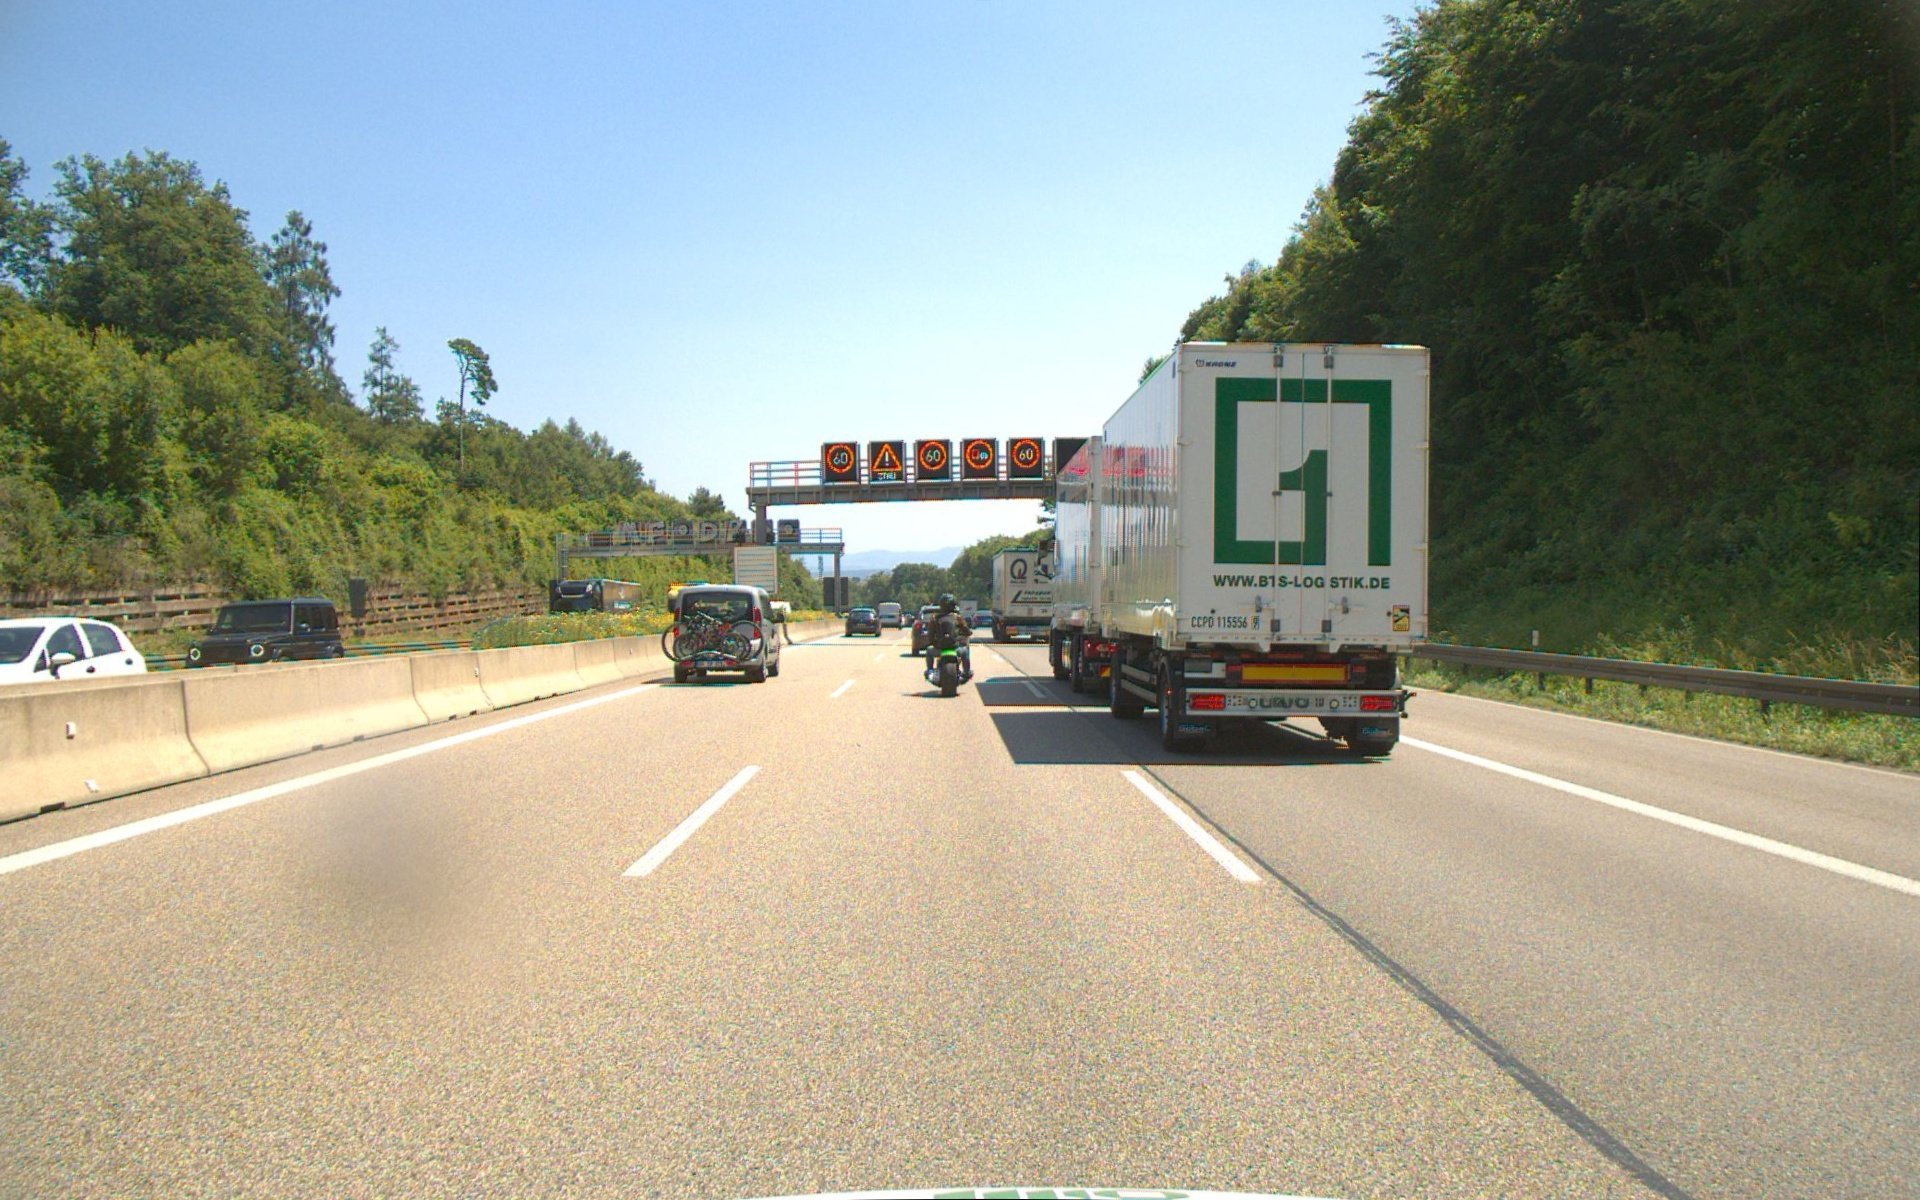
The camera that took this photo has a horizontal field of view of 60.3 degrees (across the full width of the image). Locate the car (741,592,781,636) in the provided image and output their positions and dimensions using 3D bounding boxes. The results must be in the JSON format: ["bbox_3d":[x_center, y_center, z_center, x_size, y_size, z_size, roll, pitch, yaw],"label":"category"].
[{"bbox_3d":[-12.603,0.860,104.964,1.958,2.720,4.845,-2,0,-1],"label":"car"}]

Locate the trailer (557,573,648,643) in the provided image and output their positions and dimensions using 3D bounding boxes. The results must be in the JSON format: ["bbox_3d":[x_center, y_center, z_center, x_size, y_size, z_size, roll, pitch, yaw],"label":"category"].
[{"bbox_3d":[-23.225,0.510,108.247,2.918,4.172,13.991,-3,0,-1],"label":"trailer"}]

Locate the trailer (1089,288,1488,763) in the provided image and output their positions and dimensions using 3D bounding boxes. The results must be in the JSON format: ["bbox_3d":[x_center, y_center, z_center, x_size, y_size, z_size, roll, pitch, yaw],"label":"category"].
[{"bbox_3d":[3.346,-0.648,19.868,2.625,4.249,10.062,0,0,-1],"label":"trailer"}]

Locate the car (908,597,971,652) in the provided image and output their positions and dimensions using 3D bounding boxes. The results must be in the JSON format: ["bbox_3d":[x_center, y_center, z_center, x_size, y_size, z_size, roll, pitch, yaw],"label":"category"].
[{"bbox_3d":[-0.632,0.695,50.249,1.808,1.584,4.438,0,0,-1],"label":"car"}]

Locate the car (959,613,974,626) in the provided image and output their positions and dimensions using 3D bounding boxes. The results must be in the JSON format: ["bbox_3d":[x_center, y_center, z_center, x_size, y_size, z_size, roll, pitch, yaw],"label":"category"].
[{"bbox_3d":[0.848,2.425,208.014,1.794,1.553,4.026,0,0,-1],"label":"car"}]

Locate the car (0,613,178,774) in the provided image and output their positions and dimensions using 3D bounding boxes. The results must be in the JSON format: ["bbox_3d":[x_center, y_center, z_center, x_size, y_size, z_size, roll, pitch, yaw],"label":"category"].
[{"bbox_3d":[-10.858,1.017,19.150,1.711,1.633,4.057,-2,0,-1],"label":"car"}]

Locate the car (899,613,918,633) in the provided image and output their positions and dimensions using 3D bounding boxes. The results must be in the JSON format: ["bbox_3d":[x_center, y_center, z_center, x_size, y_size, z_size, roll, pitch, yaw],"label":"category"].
[{"bbox_3d":[-4.939,2.206,159.741,1.794,1.842,4.119,0,0,-1],"label":"car"}]

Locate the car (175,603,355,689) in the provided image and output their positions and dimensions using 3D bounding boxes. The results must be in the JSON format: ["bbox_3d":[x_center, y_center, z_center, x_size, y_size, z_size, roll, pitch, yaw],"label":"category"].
[{"bbox_3d":[-14.667,0.915,35.220,1.900,1.633,4.655,-2,0,-1],"label":"car"}]

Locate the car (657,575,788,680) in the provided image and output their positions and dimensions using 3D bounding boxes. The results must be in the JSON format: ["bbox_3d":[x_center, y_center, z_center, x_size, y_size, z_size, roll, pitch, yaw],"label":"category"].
[{"bbox_3d":[-4.559,0.536,32.488,1.860,1.880,5.481,0,-1,-1],"label":"car"}]

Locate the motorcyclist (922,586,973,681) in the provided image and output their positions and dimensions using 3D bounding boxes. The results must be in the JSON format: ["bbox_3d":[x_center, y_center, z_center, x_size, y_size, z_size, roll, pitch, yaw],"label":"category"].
[{"bbox_3d":[-0.202,0.549,27.391,0.838,1.541,0.913,0,-1,0],"label":"motorcyclist"}]

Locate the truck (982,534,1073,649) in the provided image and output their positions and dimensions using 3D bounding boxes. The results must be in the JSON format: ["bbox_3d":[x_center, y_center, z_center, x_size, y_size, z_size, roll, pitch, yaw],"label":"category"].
[{"bbox_3d":[2.976,-0.328,79.414,3.314,4.800,17.704,1,0,-1],"label":"truck"}]

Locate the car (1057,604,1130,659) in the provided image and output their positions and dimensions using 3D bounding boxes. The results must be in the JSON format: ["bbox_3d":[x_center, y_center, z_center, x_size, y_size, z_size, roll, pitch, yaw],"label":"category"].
[{"bbox_3d":[4.027,0.935,50.549,1.808,1.584,4.391,0,0,-1],"label":"car"}]

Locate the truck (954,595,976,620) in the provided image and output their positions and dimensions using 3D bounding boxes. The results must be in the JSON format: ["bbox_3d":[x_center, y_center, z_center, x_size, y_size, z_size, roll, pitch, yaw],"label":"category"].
[{"bbox_3d":[0.666,1.111,234.795,3.005,3.405,9.649,1,0,-1],"label":"truck"}]

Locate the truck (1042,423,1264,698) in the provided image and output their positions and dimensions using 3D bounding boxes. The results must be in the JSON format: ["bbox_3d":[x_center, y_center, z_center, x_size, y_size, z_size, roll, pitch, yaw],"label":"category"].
[{"bbox_3d":[3.172,-0.572,30.253,2.625,4.131,10.622,0,0,-1],"label":"truck"}]

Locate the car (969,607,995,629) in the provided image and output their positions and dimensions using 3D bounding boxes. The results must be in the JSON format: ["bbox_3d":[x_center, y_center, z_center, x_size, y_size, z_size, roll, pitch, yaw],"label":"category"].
[{"bbox_3d":[1.637,1.353,125.261,1.794,1.553,4.026,0,0,-1],"label":"car"}]

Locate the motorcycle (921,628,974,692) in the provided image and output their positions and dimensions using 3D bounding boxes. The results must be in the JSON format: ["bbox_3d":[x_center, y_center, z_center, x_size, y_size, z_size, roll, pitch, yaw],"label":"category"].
[{"bbox_3d":[-0.201,0.975,27.370,0.844,0.999,2.130,0,-1,0],"label":"motorcycle"}]

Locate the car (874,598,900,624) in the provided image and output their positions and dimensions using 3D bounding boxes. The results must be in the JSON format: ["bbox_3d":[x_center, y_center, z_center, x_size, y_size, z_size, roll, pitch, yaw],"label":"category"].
[{"bbox_3d":[-5.210,0.791,118.661,1.794,1.842,4.119,0,0,-1],"label":"car"}]

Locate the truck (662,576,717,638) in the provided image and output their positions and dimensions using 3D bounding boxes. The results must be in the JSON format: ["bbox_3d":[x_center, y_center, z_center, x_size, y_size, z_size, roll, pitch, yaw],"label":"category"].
[{"bbox_3d":[-19.800,0.531,121.451,2.891,4.275,6.456,-3,0,-1],"label":"truck"}]

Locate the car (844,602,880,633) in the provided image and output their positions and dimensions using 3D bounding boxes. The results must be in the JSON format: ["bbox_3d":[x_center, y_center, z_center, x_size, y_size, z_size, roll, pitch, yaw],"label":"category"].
[{"bbox_3d":[-5.106,0.920,86.862,1.722,1.571,4.394,0,0,-1],"label":"car"}]

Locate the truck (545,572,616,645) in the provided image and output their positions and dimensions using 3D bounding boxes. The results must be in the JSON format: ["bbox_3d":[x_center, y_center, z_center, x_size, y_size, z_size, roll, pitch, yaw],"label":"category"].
[{"bbox_3d":[-23.092,0.516,100.866,2.875,4.130,5.866,-3,0,-1],"label":"truck"}]
